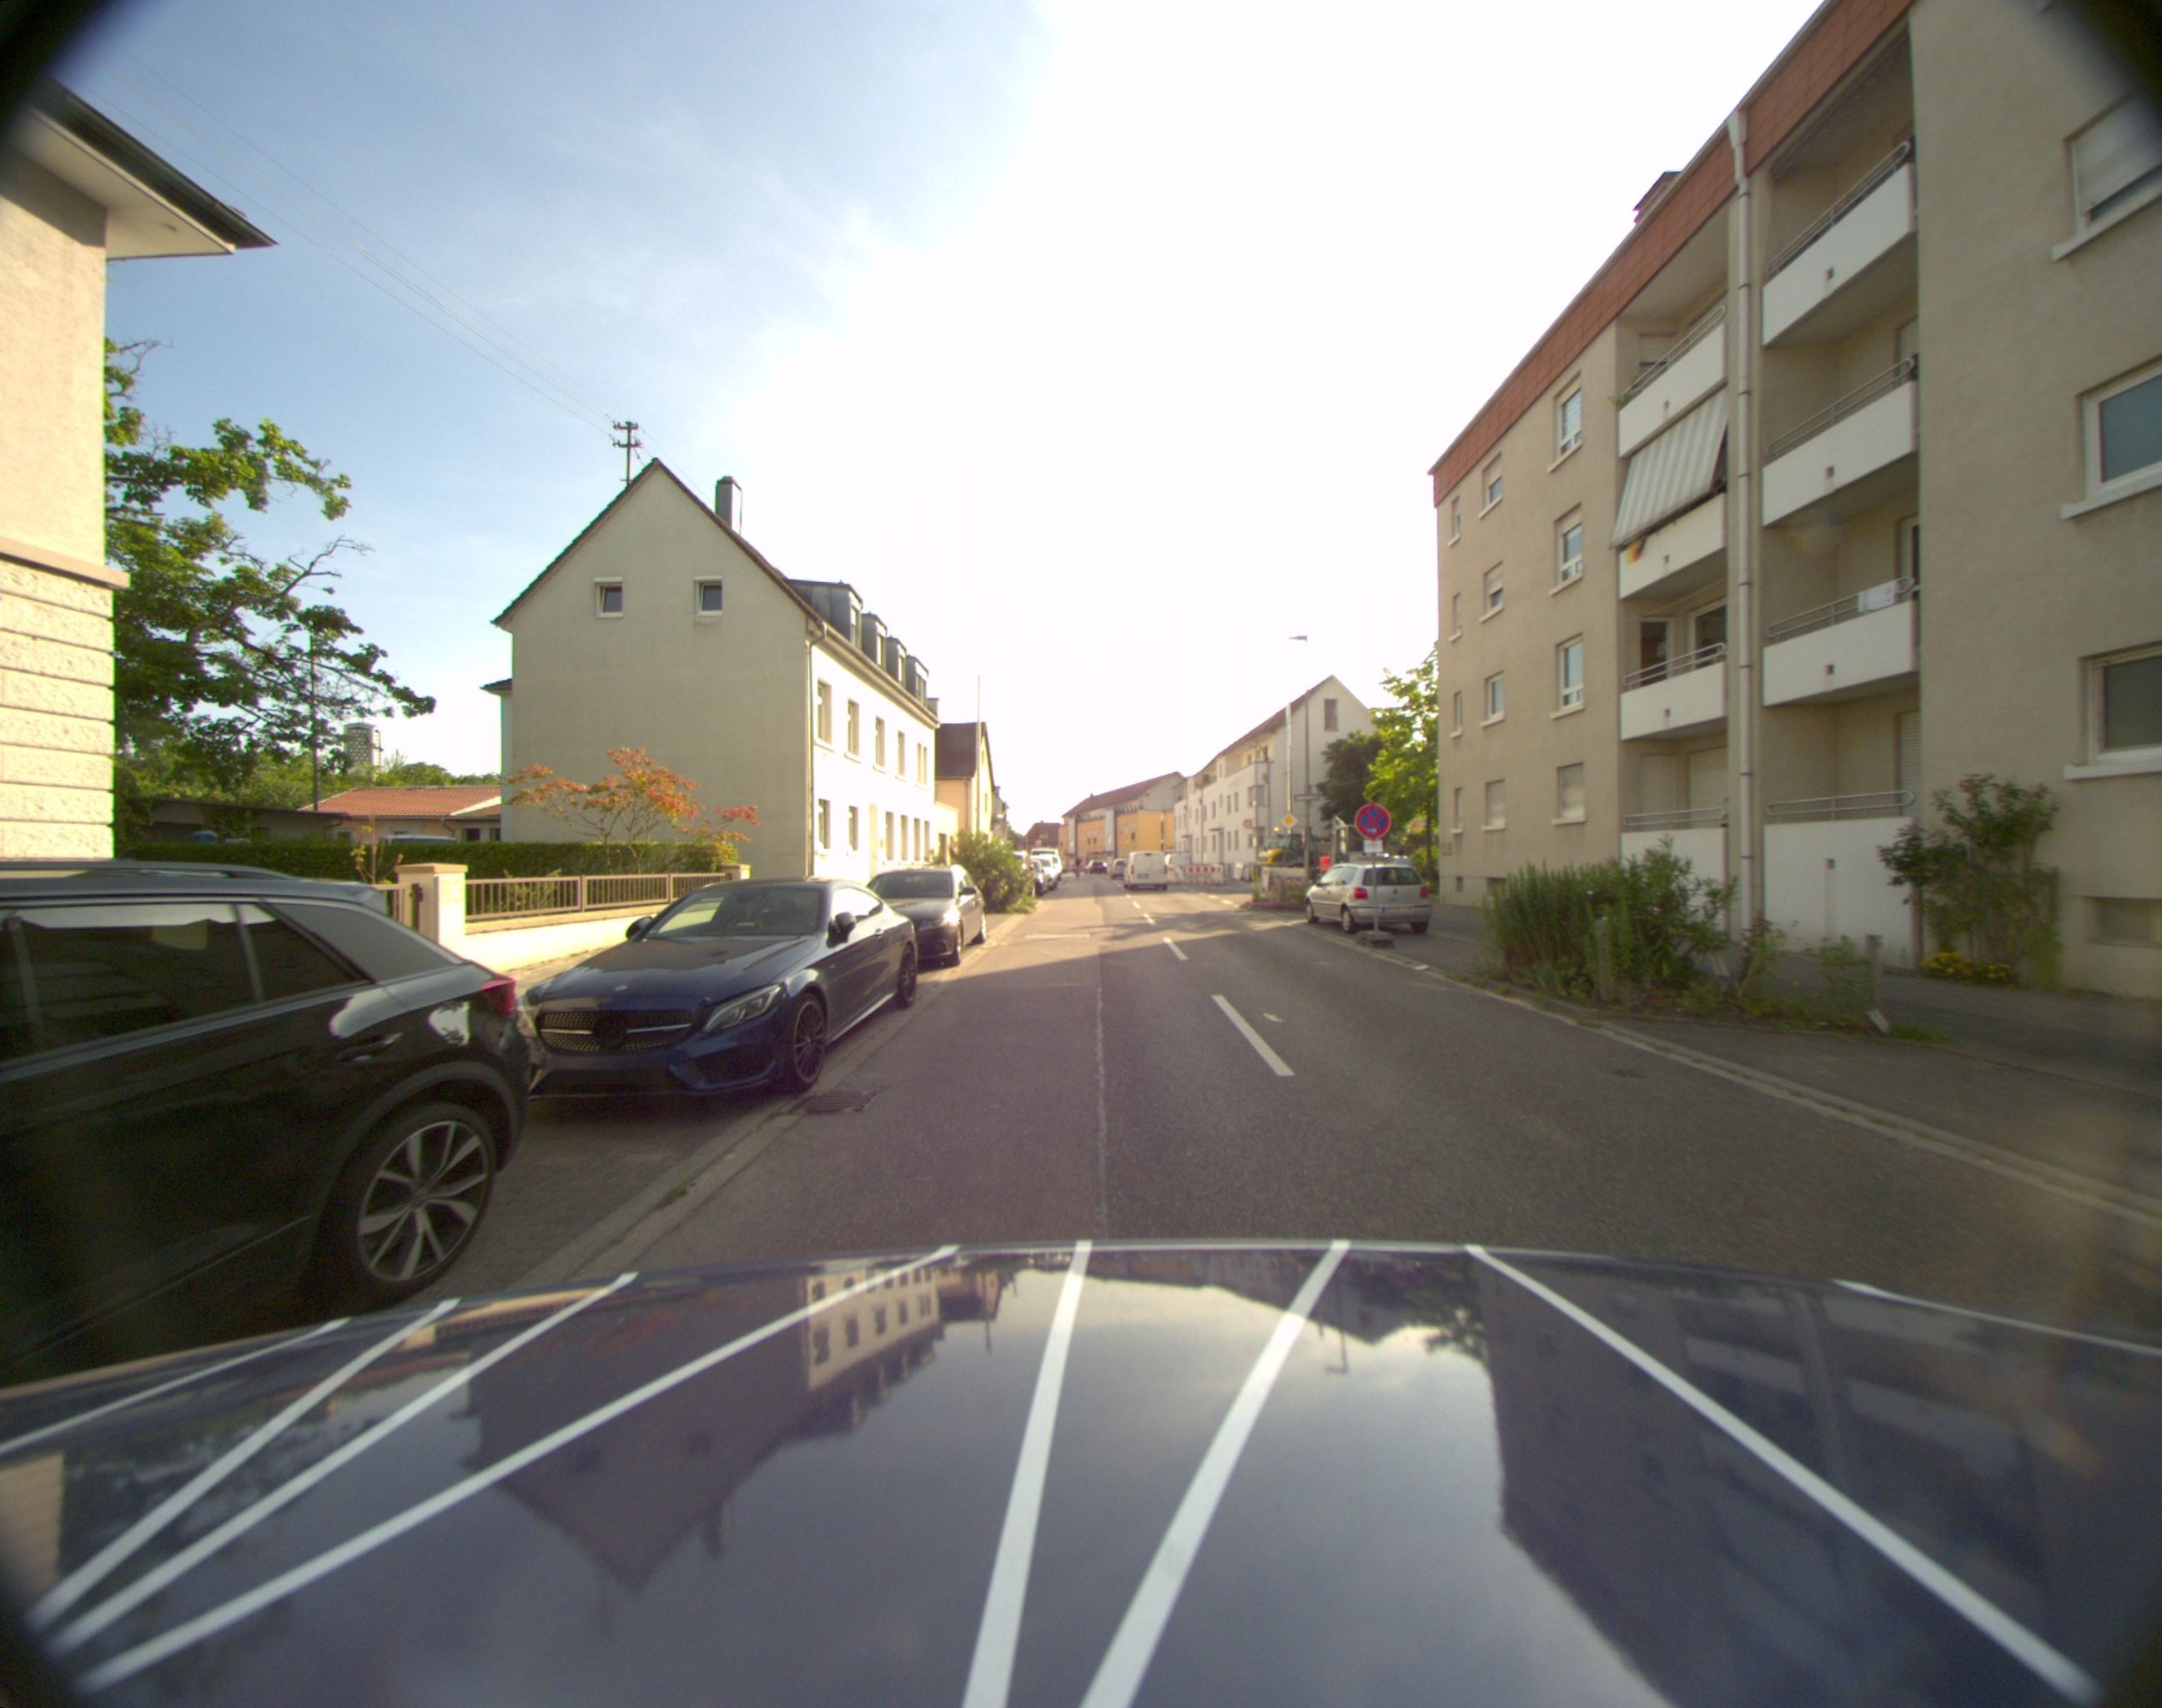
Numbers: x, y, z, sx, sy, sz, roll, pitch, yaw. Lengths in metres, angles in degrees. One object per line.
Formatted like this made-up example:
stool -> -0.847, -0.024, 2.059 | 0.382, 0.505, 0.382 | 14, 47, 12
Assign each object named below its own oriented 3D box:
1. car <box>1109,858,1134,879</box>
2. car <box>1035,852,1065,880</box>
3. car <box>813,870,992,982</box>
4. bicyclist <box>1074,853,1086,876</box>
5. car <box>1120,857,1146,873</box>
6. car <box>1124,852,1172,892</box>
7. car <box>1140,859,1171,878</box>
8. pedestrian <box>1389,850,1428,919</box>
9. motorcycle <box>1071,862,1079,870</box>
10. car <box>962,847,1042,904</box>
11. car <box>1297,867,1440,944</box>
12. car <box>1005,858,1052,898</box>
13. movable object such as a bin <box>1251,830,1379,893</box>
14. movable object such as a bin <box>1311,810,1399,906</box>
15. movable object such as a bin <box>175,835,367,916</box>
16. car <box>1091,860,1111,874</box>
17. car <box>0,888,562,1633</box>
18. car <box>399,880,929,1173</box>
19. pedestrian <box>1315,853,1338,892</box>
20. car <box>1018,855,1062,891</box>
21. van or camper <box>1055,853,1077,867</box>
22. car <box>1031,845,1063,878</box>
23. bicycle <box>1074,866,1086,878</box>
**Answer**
car -> 2.953, 1.024, 55.797 | 1.622, 1.446, 3.685 | 0, 0, -1
car -> -2.003, 0.810, 50.931 | 1.782, 1.731, 4.483 | 2, 0, 0
car -> -2.624, 0.998, 12.297 | 1.784, 1.411, 4.496 | 0, 0, 0
bicyclist -> -0.071, 0.798, 57.563 | 0.846, 1.679, 0.877 | -1, 0, -7
car -> 5.093, 1.078, 75.378 | 1.732, 1.469, 4.501 | -2, -1, -6
car -> 3.192, 0.835, 36.941 | 1.927, 1.756, 4.338 | 1, 0, 0
car -> 6.267, 1.230, 64.265 | 1.732, 1.469, 4.261 | -2, 0, -6
pedestrian -> 8.794, 0.819, 20.440 | 0.720, 1.808, 0.745 | -1, 0, 2
motorcycle -> -0.963, 1.874, 119.960 | 0.584, 1.175, 1.875 | -1, 0, -19
car -> -2.709, 0.740, 27.311 | 2.080, 1.845, 4.612 | 1, -1, 4
car -> 5.974, 1.008, 16.228 | 1.644, 1.387, 3.671 | -1, 0, 0
car -> -2.164, 0.989, 32.610 | 1.593, 1.519, 4.614 | 1, 0, 1
movable object such as a bin -> 11.308, 0.345, 36.841 | 5.516, 2.883, 2.110 | -1, 0, -11
movable object such as a bin -> 9.506, 0.143, 26.667 | 1.652, 3.119, 3.900 | 0, 0, 0
movable object such as a bin -> -19.538, 0.500, 18.441 | 2.567, 1.828, 1.976 | 1, 0, 3
car -> 2.042, 1.353, 78.540 | 1.835, 1.411, 4.208 | 0, 0, -3
car -> -3.290, 0.931, 1.295 | 1.834, 1.551, 4.317 | 0, 0, 0
car -> -2.720, 1.011, 6.408 | 1.834, 1.412, 4.609 | 0, 0, 1
pedestrian -> 10.664, 0.777, 32.994 | 0.669, 1.654, 0.993 | -1, 0, 2
car -> -1.990, 0.907, 37.923 | 1.816, 1.674, 4.477 | 1, 0, 1
van or camper -> -2.309, 0.954, 113.286 | 2.001, 1.991, 4.914 | -1, -1, -17
car -> -2.502, 0.572, 57.111 | 2.180, 2.313, 4.997 | 1, -1, -1
bicycle -> -0.070, 1.329, 57.523 | 0.680, 0.849, 2.026 | 0, 0, -6
